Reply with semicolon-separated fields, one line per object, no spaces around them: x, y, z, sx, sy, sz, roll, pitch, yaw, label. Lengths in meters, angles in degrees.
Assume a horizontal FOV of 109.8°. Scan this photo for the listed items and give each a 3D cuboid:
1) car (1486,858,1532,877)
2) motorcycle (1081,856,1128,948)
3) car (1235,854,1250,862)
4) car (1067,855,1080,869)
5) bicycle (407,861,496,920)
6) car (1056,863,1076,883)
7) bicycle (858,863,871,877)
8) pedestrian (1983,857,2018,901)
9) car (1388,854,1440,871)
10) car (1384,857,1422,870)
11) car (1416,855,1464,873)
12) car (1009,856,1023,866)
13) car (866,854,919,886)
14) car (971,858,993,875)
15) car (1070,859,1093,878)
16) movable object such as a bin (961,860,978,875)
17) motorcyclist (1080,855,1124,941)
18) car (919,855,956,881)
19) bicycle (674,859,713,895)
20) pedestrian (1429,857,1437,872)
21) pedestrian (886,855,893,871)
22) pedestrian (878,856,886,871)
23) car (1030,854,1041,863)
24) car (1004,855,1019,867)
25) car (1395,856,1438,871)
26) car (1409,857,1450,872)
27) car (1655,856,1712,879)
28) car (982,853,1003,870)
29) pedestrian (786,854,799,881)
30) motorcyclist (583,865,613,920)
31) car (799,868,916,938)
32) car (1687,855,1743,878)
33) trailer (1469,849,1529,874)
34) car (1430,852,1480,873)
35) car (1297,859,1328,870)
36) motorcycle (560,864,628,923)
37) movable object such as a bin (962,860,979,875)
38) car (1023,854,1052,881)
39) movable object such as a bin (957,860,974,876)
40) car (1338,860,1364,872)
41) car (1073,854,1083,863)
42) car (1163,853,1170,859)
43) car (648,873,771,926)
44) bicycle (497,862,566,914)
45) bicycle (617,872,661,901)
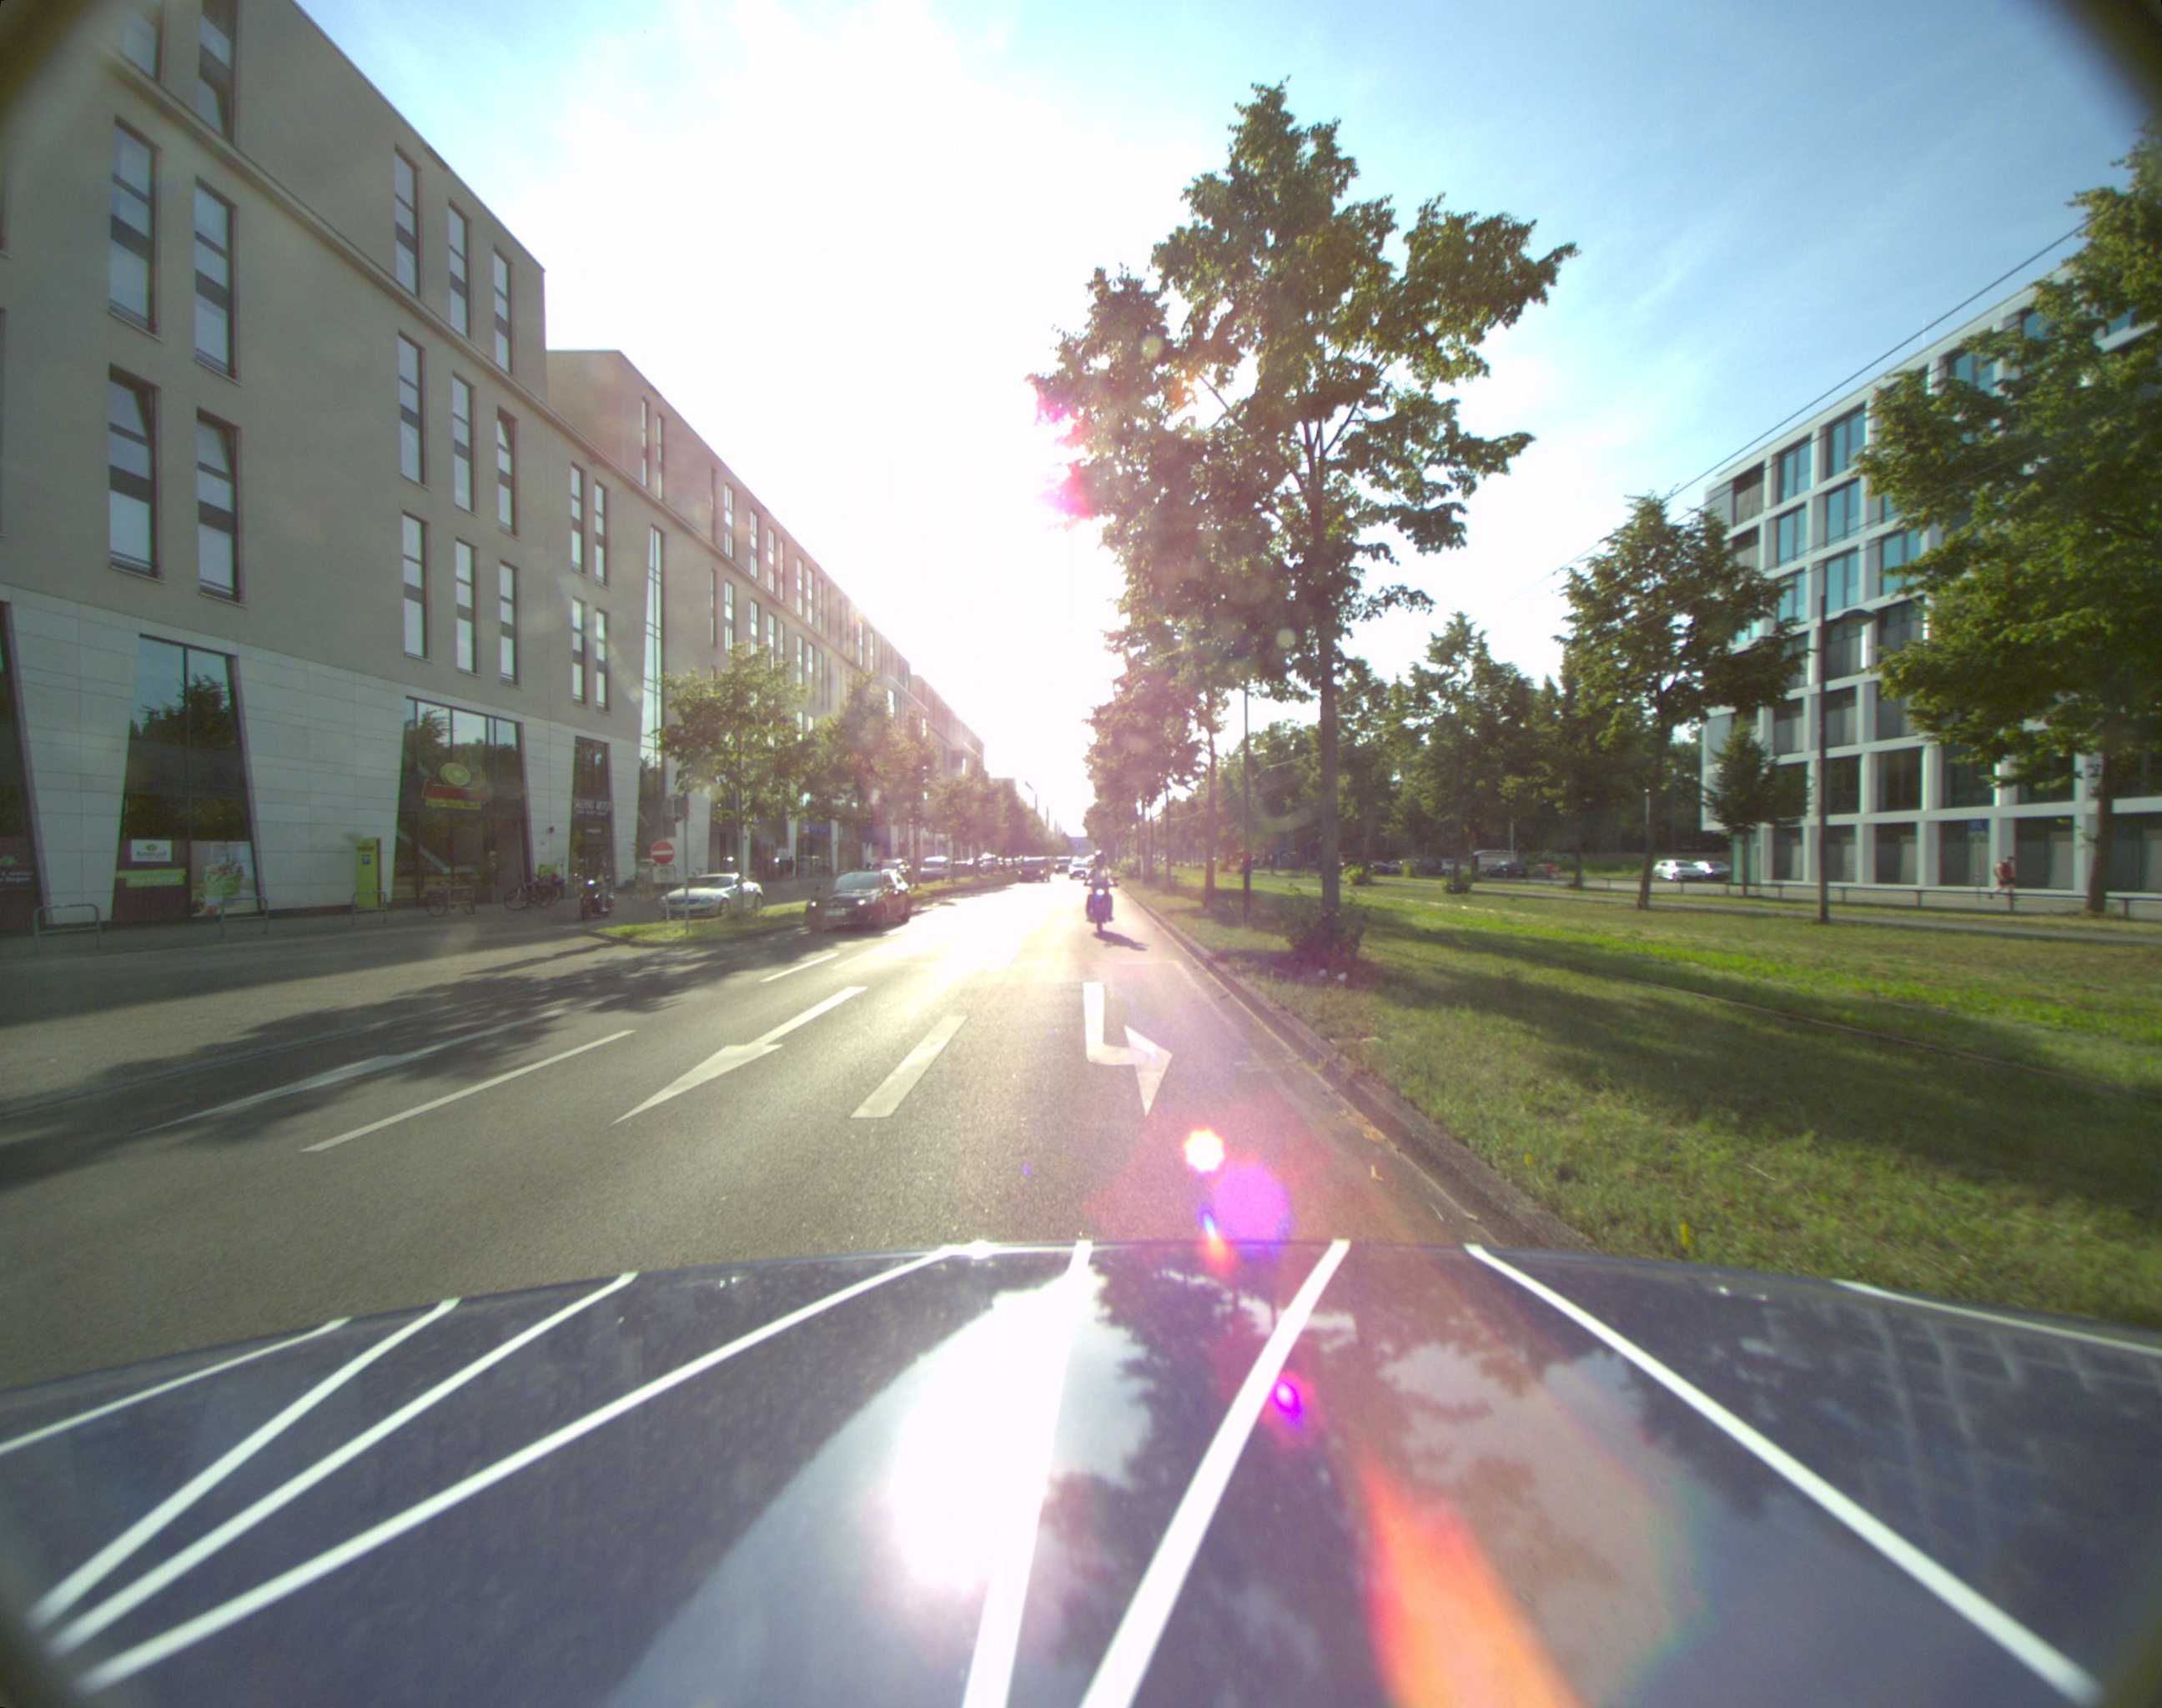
36.426;1.131;64.774;1.684;1.385;3.760;-2;1;-2;car
0.442;0.903;15.519;0.798;1.659;2.634;-2;1;0;motorcycle
29.021;0.710;136.483;1.835;1.423;4.474;-2;1;2;car
-1.111;1.158;111.088;1.777;1.805;3.999;-2;1;0;car
-18.324;1.034;22.201;0.557;1.562;2.276;-2;1;2;bicycle
-1.655;2.070;84.766;1.909;2.002;4.000;-2;1;1;car
-17.498;1.291;61.356;0.493;1.110;1.945;0;1;1;bicycle
36.739;0.982;30.369;0.569;1.718;0.691;-2;1;1;pedestrian
38.041;0.963;86.911;5.071;1.725;1.886;-2;1;3;car
38.061;1.100;89.894;3.655;1.420;1.810;-2;1;3;car
36.509;0.968;77.410;4.002;1.633;1.757;-2;1;1;car
-9.905;1.074;116.531;1.733;1.424;4.113;-2;1;0;car
-10.853;0.895;44.021;1.902;1.698;4.677;-2;0;-1;car
-10.087;1.234;77.353;1.735;1.620;4.849;0;0;-2;car
0.010;1.151;62.948;1.756;1.427;4.034;-2;1;-2;car
-9.671;1.194;65.948;1.281;1.229;1.191;-2;1;-2;movable object such as a bin
0.424;0.889;15.683;0.814;1.699;0.843;-2;1;0;motorcyclist
-10.431;0.997;55.506;1.832;1.702;4.295;-2;1;-1;car
-18.140;1.050;35.590;0.557;1.610;2.212;-2;1;2;bicycle
34.716;1.065;74.912;0.523;1.472;0.568;-2;1;0;pedestrian
-19.312;0.881;76.523;0.541;1.565;0.514;-3;1;-28;pedestrian
-20.017;0.950;76.371;0.515;1.513;0.597;-2;1;1;pedestrian
-7.963;0.784;133.408;1.644;1.553;3.733;-2;1;0;car
-9.082;0.921;99.979;1.620;1.404;4.166;-2;1;-2;car
37.455;1.051;84.921;3.996;1.551;1.856;-2;1;3;car
37.126;1.065;80.912;3.576;1.417;1.726;-2;1;1;car
47.171;1.018;59.584;1.851;1.586;4.003;-2;1;12;car
-10.102;0.836;87.019;1.842;1.865;5.030;-2;1;0;car
-19.091;0.869;50.293;0.538;1.752;0.646;-2;1;1;pedestrian
-14.425;1.141;22.701;0.625;1.631;0.417;1;1;-3;motorcyclist
-5.572;1.168;19.497;1.698;1.416;4.039;-2;1;1;car
49.175;0.951;59.022;1.687;1.548;4.003;-2;1;13;car
37.735;0.632;68.619;4.374;2.042;1.758;-2;1;4;trailer
36.560;0.830;74.376;4.002;1.936;1.757;-2;1;1;car
30.967;1.408;101.791;1.689;1.427;4.026;-3;1;-27;car
-14.424;1.128;22.573;0.703;1.608;2.011;3;1;-1;motorcycle
-9.789;1.187;67.310;1.281;1.229;1.191;-2;1;-2;movable object such as a bin
-3.306;1.021;58.459;1.803;1.880;4.821;-2;1;1;car
-9.821;1.196;64.686;1.281;1.284;1.178;-2;1;-2;movable object such as a bin
37.860;1.651;106.637;1.791;1.434;4.359;-2;1;-5;car
-0.491;0.844;149.502;1.840;1.521;4.328;-2;1;1;car
25.458;0.630;226.991;1.686;1.467;4.813;2;1;1;car
-10.928;1.282;22.672;1.712;1.235;3.905;-2;1;0;car
-18.148;1.094;25.154;0.557;1.558;2.212;-2;1;2;bicycle
-18.030;1.310;31.060;0.635;1.077;1.904;0;0;1;bicycle
